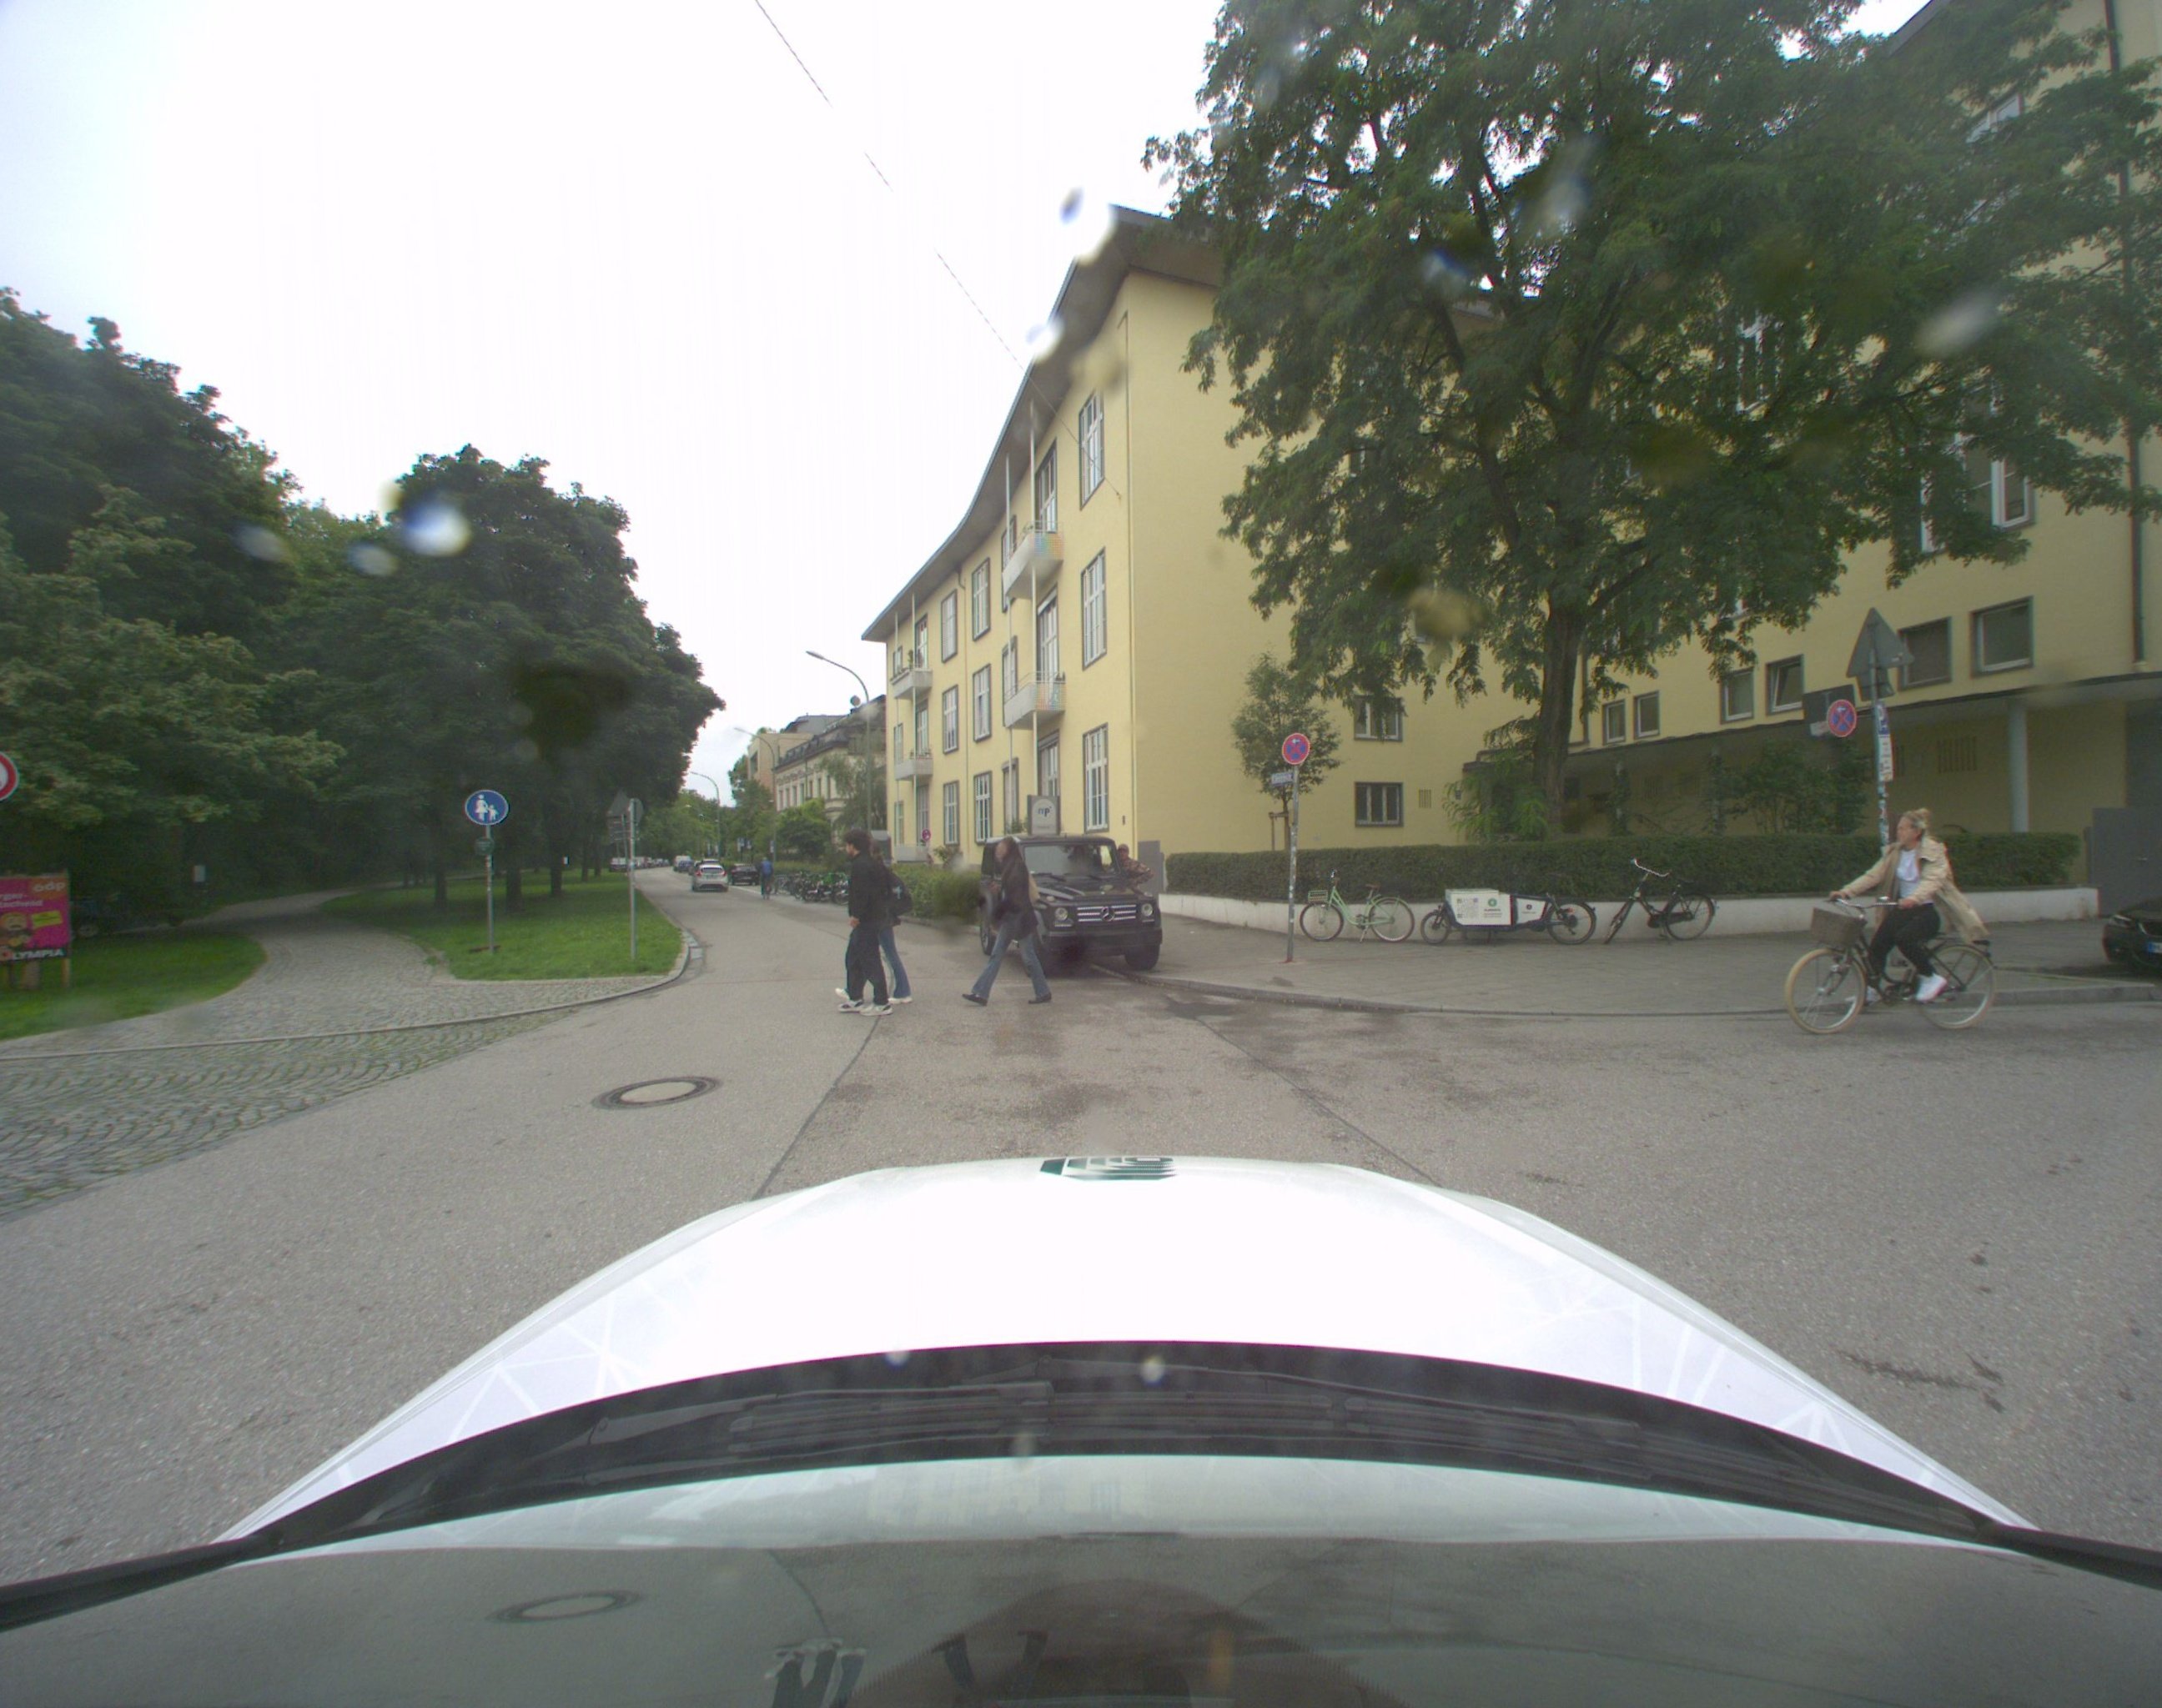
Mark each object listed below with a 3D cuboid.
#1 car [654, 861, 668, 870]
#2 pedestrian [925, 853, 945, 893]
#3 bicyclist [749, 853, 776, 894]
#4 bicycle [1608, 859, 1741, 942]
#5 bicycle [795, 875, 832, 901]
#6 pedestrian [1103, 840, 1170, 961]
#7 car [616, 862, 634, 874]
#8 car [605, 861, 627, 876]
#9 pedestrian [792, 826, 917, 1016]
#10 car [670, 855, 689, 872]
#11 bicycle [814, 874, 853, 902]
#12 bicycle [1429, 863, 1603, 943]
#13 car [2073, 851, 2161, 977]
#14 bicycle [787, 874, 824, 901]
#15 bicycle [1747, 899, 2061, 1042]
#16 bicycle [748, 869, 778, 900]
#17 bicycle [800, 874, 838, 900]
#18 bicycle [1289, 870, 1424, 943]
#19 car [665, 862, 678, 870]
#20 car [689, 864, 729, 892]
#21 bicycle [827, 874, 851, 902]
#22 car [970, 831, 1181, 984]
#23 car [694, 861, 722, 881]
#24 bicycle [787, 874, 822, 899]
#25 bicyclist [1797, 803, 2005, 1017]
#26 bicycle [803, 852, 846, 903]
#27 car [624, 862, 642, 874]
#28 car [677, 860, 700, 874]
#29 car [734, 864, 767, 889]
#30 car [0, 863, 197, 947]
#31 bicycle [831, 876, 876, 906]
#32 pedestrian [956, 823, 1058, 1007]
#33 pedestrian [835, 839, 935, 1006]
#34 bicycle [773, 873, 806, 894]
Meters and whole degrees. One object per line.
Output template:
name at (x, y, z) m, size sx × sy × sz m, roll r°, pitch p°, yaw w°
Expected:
car at (-82.195, 2.291, 159.347) m, size 2.001 × 1.600 × 4.436 m, roll -1°, pitch 0°, yaw -21°
pedestrian at (-6.192, 0.801, 34.481) m, size 0.634 × 1.684 × 0.692 m, roll -2°, pitch 0°, yaw -24°
bicyclist at (-14.014, 0.838, 35.806) m, size 0.919 × 1.764 × 1.204 m, roll -1°, pitch 0°, yaw -28°
bicycle at (8.576, 0.654, 11.773) m, size 1.680 × 1.130 × 0.459 m, roll -1°, pitch 0°, yaw -7°
bicycle at (-11.239, 1.424, 34.259) m, size 0.404 × 1.014 × 1.547 m, roll -2°, pitch 0°, yaw 31°
pedestrian at (0.835, 0.688, 12.535) m, size 0.847 × 1.757 × 0.952 m, roll -2°, pitch 0°, yaw -4°
car at (-59.430, 1.817, 106.069) m, size 2.006 × 1.600 × 4.424 m, roll -1°, pitch 0°, yaw -30°
car at (-52.128, 1.658, 91.333) m, size 2.006 × 1.600 × 4.424 m, roll -1°, pitch 0°, yaw -30°
pedestrian at (-2.248, 0.648, 8.164) m, size 0.984 × 1.809 × 0.661 m, roll -2°, pitch -1°, yaw 7°
car at (-50.523, 1.170, 102.397) m, size 2.077 × 1.966 × 4.933 m, roll -1°, pitch 0°, yaw -27°
bicycle at (-10.049, 1.366, 33.102) m, size 0.362 × 1.014 × 1.547 m, roll -2°, pitch 0°, yaw 40°
bicycle at (6.372, 0.716, 12.023) m, size 2.154 × 1.115 × 0.642 m, roll -1°, pitch 0°, yaw 10°
car at (13.893, 0.593, 8.899) m, size 4.312 × 1.367 × 1.659 m, roll -1°, pitch -3°, yaw -5°
bicycle at (-11.662, 1.412, 34.522) m, size 0.404 × 1.014 × 1.547 m, roll -2°, pitch 0°, yaw 31°
bicycle at (6.756, 0.933, 6.739) m, size 1.956 × 1.024 × 0.684 m, roll -1°, pitch 0°, yaw -3°
bicycle at (-13.959, 1.325, 35.745) m, size 0.926 × 1.252 × 2.300 m, roll -1°, pitch 0°, yaw -28°
bicycle at (-10.873, 1.367, 33.865) m, size 0.404 × 1.014 × 1.548 m, roll -2°, pitch 0°, yaw 35°
bicycle at (4.389, 0.849, 13.063) m, size 1.924 × 1.085 × 0.532 m, roll -4°, pitch -2°, yaw 37°
car at (-87.197, 2.504, 173.513) m, size 2.001 × 1.600 × 4.435 m, roll -1°, pitch 0°, yaw -21°
car at (-20.528, 1.299, 44.835) m, size 1.758 × 1.406 × 3.693 m, roll -1°, pitch 0°, yaw -28°
bicycle at (-9.518, 1.331, 32.086) m, size 0.364 × 1.014 × 1.539 m, roll -2°, pitch 0°, yaw 3°
car at (-0.326, 0.668, 12.661) m, size 1.879 × 1.887 × 4.589 m, roll -1°, pitch 0°, yaw -19°
car at (-32.699, 1.479, 71.348) m, size 1.805 × 1.680 × 3.960 m, roll -1°, pitch 0°, yaw -31°
bicycle at (-12.309, 1.430, 36.231) m, size 0.404 × 1.014 × 1.547 m, roll -2°, pitch 0°, yaw 31°
bicyclist at (6.746, 0.436, 6.742) m, size 1.001 × 1.656 × 0.696 m, roll -1°, pitch 0°, yaw -2°
bicycle at (-10.498, 0.933, 33.335) m, size 0.451 × 2.013 × 1.688 m, roll -2°, pitch 0°, yaw 35°
car at (-65.864, 2.062, 119.669) m, size 2.004 × 1.600 × 4.429 m, roll -1°, pitch 0°, yaw -26°
car at (-45.584, 1.490, 94.519) m, size 2.006 × 1.600 × 4.212 m, roll -1°, pitch 0°, yaw -31°
car at (-22.229, 1.482, 54.684) m, size 1.656 × 1.558 × 3.527 m, roll -1°, pitch 0°, yaw -28°
car at (-27.344, 1.331, 22.196) m, size 1.765 × 2.013 × 4.024 m, roll -2°, pitch 0°, yaw 26°
bicycle at (-8.506, 1.368, 30.447) m, size 1.543 × 1.014 × 0.363 m, roll -2°, pitch 0°, yaw -32°
pedestrian at (-0.815, 0.620, 8.830) m, size 0.853 × 1.857 × 0.761 m, roll -2°, pitch -1°, yaw -21°
pedestrian at (-2.142, 0.724, 8.973) m, size 0.822 × 1.746 × 0.742 m, roll -1°, pitch 0°, yaw 6°
bicycle at (-14.970, 1.508, 41.854) m, size 0.404 × 1.014 × 1.547 m, roll -2°, pitch 0°, yaw 44°
